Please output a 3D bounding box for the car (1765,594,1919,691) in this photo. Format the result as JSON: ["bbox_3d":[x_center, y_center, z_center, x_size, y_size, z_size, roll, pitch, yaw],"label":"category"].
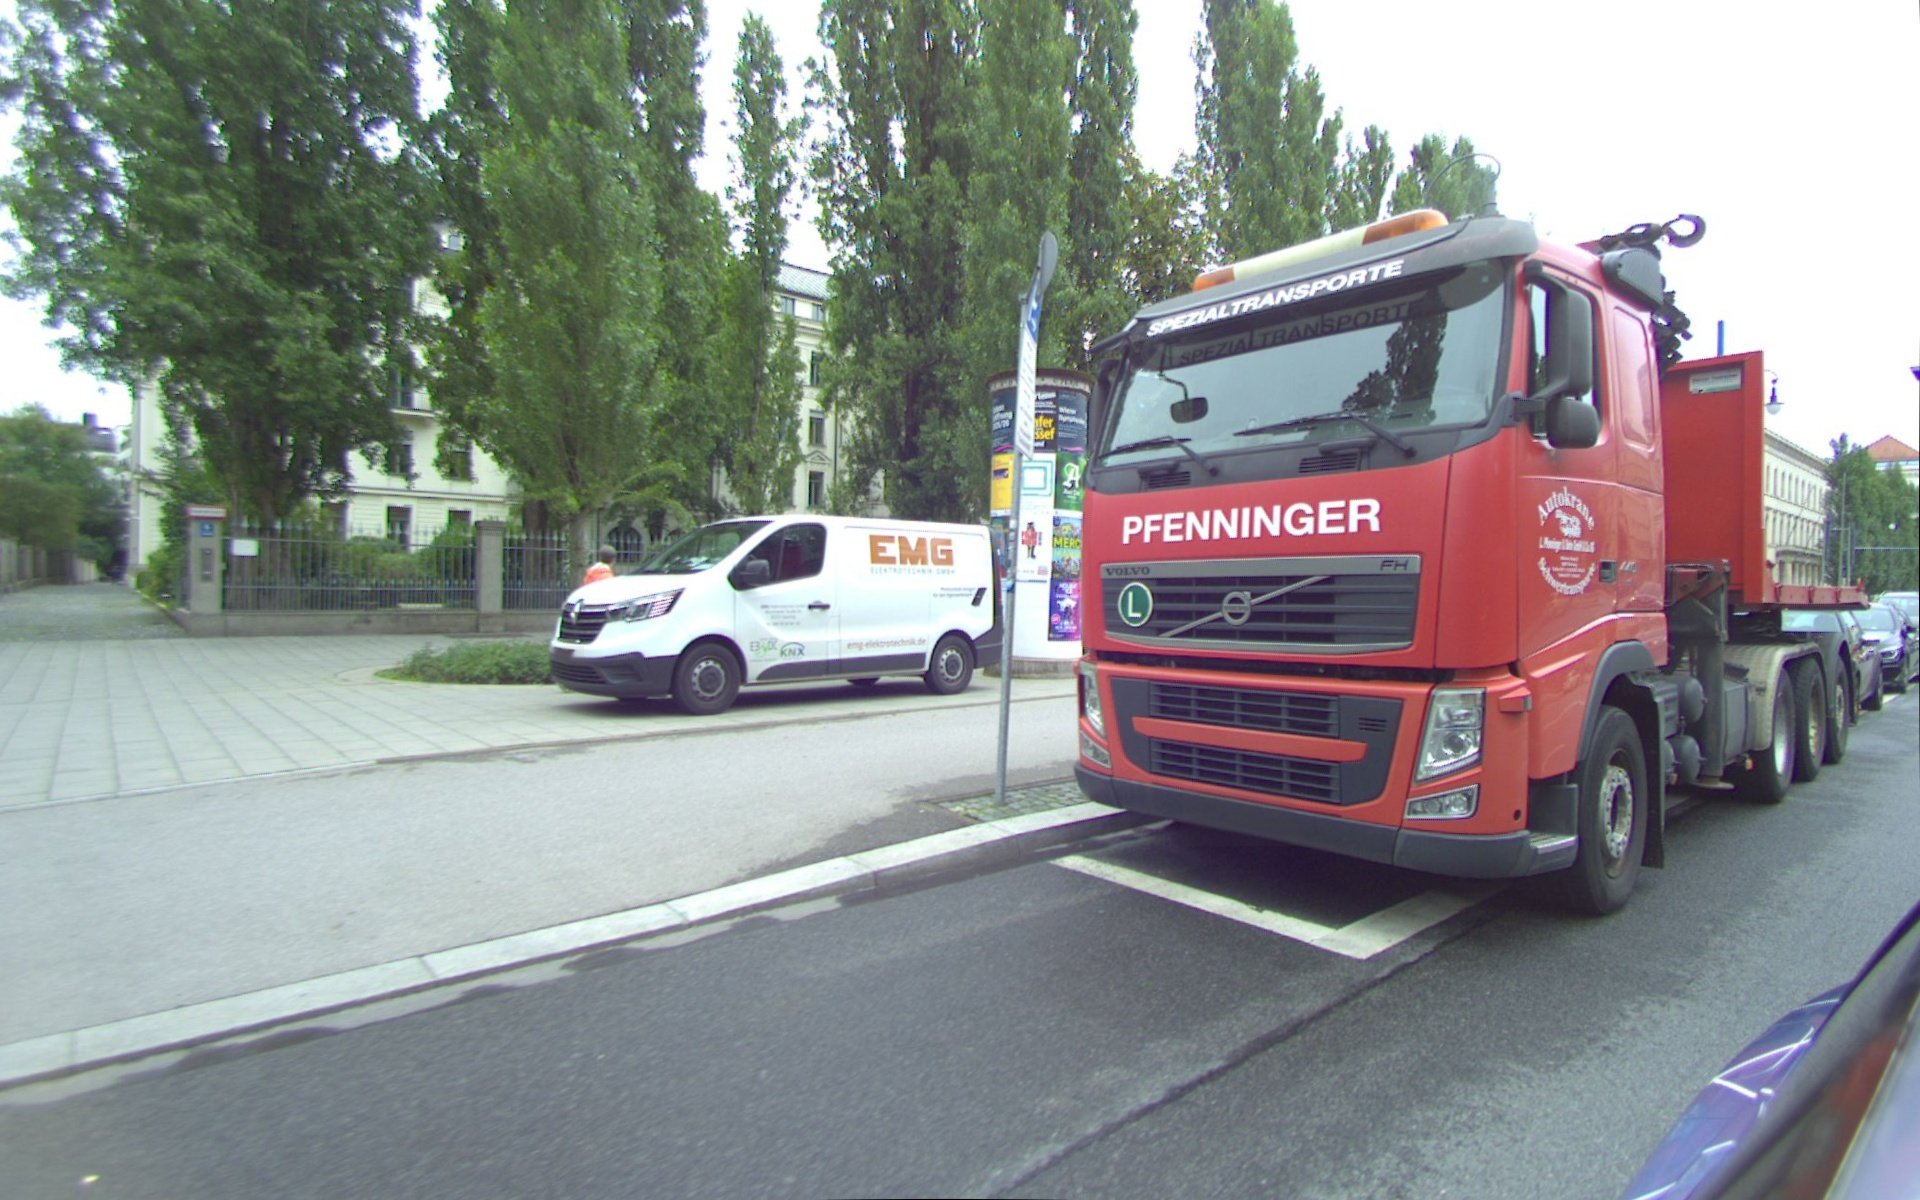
[{"bbox_3d":[15.463,0.643,17.382,4.362,1.409,1.845,0,1,-42],"label":"car"}]

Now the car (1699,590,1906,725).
[{"bbox_3d":[11.064,0.649,13.216,3.590,1.487,1.563,0,1,-42],"label":"car"}]

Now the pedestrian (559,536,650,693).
[{"bbox_3d":[-4.058,0.151,11.548,0.742,1.715,0.717,1,1,-41],"label":"pedestrian"}]

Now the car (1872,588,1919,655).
[{"bbox_3d":[25.015,0.529,26.225,1.843,1.627,4.298,2,1,44],"label":"car"}]

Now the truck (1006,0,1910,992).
[{"bbox_3d":[4.956,-0.458,7.965,10.102,3.609,2.849,0,0,-42],"label":"truck"}]

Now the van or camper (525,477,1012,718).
[{"bbox_3d":[-1.858,-0.026,10.990,4.901,2.039,2.006,0,0,-43],"label":"van or camper"}]
